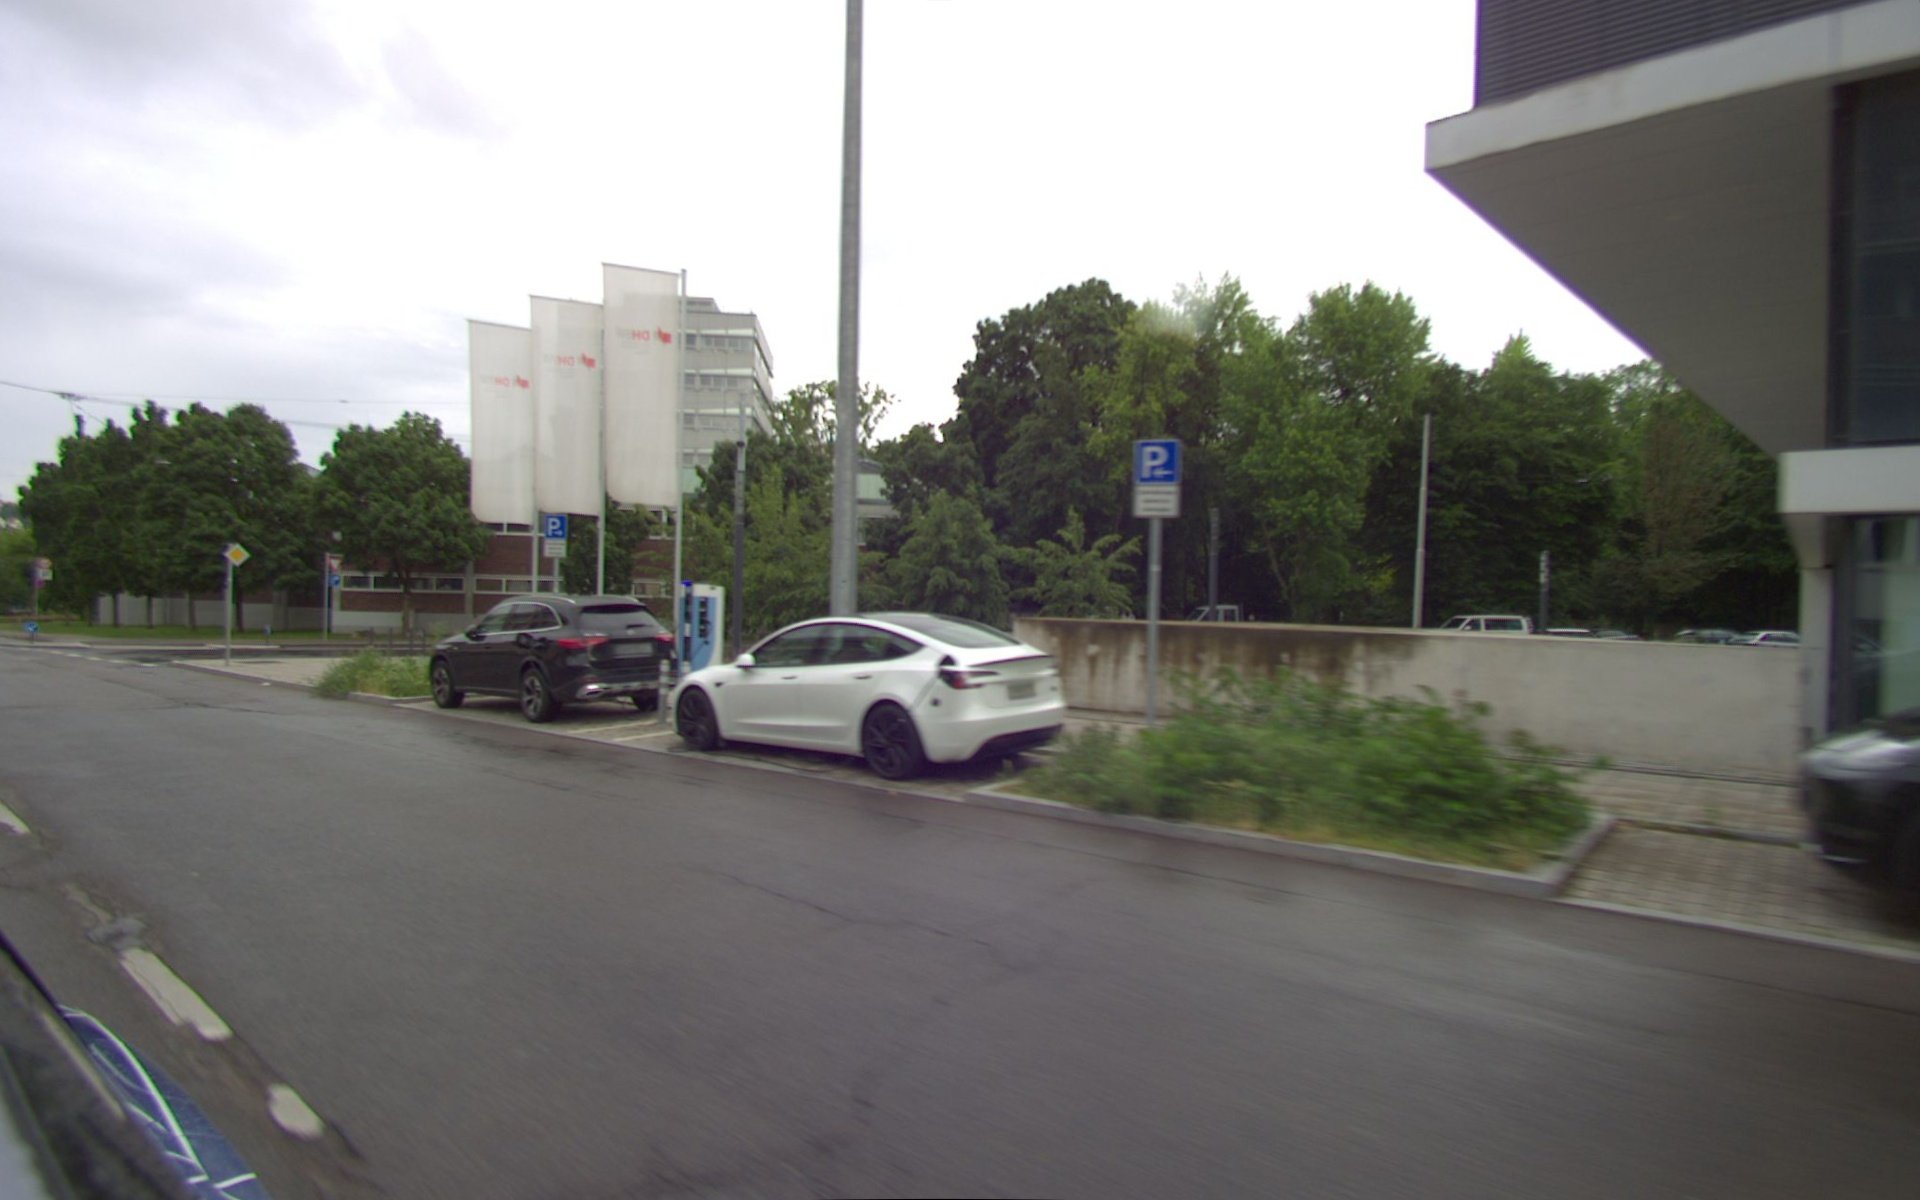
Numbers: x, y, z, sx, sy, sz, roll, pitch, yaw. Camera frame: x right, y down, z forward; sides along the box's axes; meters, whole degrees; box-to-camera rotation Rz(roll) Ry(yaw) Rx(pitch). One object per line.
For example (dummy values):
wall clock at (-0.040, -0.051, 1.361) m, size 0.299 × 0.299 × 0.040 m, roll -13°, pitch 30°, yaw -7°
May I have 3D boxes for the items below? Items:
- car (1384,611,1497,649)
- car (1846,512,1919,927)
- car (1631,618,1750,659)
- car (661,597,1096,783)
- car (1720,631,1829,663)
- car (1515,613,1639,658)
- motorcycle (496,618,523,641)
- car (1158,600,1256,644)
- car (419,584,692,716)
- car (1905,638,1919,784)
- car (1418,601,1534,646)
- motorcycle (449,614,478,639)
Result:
car at (19.628, 1.207, 41.456) m, size 3.813 × 1.461 × 1.669 m, roll 0°, pitch 1°, yaw 0°
car at (6.366, 0.502, 3.488) m, size 4.942 × 1.763 × 1.941 m, roll 0°, pitch 0°, yaw 43°
car at (30.367, 1.598, 42.153) m, size 3.626 × 1.600 × 1.806 m, roll 0°, pitch 1°, yaw 0°
car at (-0.984, 0.702, 10.132) m, size 4.400 × 1.429 × 1.802 m, roll 1°, pitch 1°, yaw 41°
car at (34.112, 1.960, 42.447) m, size 3.352 × 1.250 × 1.481 m, roll 0°, pitch 1°, yaw 0°
car at (25.559, 1.458, 42.034) m, size 3.943 × 1.752 × 1.921 m, roll 0°, pitch 1°, yaw 0°
motorcycle at (-22.334, 1.459, 50.173) m, size 1.151 × 1.133 × 0.414 m, roll 2°, pitch 0°, yaw -12°
car at (12.097, 1.078, 49.746) m, size 4.216 × 2.058 × 2.078 m, roll 0°, pitch 1°, yaw -3°
car at (-5.952, 0.592, 14.625) m, size 4.489 × 1.630 × 1.830 m, roll 1°, pitch 1°, yaw 41°
car at (15.439, 1.695, 15.192) m, size 1.597 × 2.047 × 4.298 m, roll 1°, pitch 1°, yaw 40°
car at (25.739, 1.155, 50.569) m, size 4.761 × 2.112 × 2.174 m, roll 0°, pitch 1°, yaw -8°
motorcycle at (-24.478, 1.295, 49.883) m, size 1.207 × 1.194 × 0.414 m, roll 0°, pitch 1°, yaw -12°
